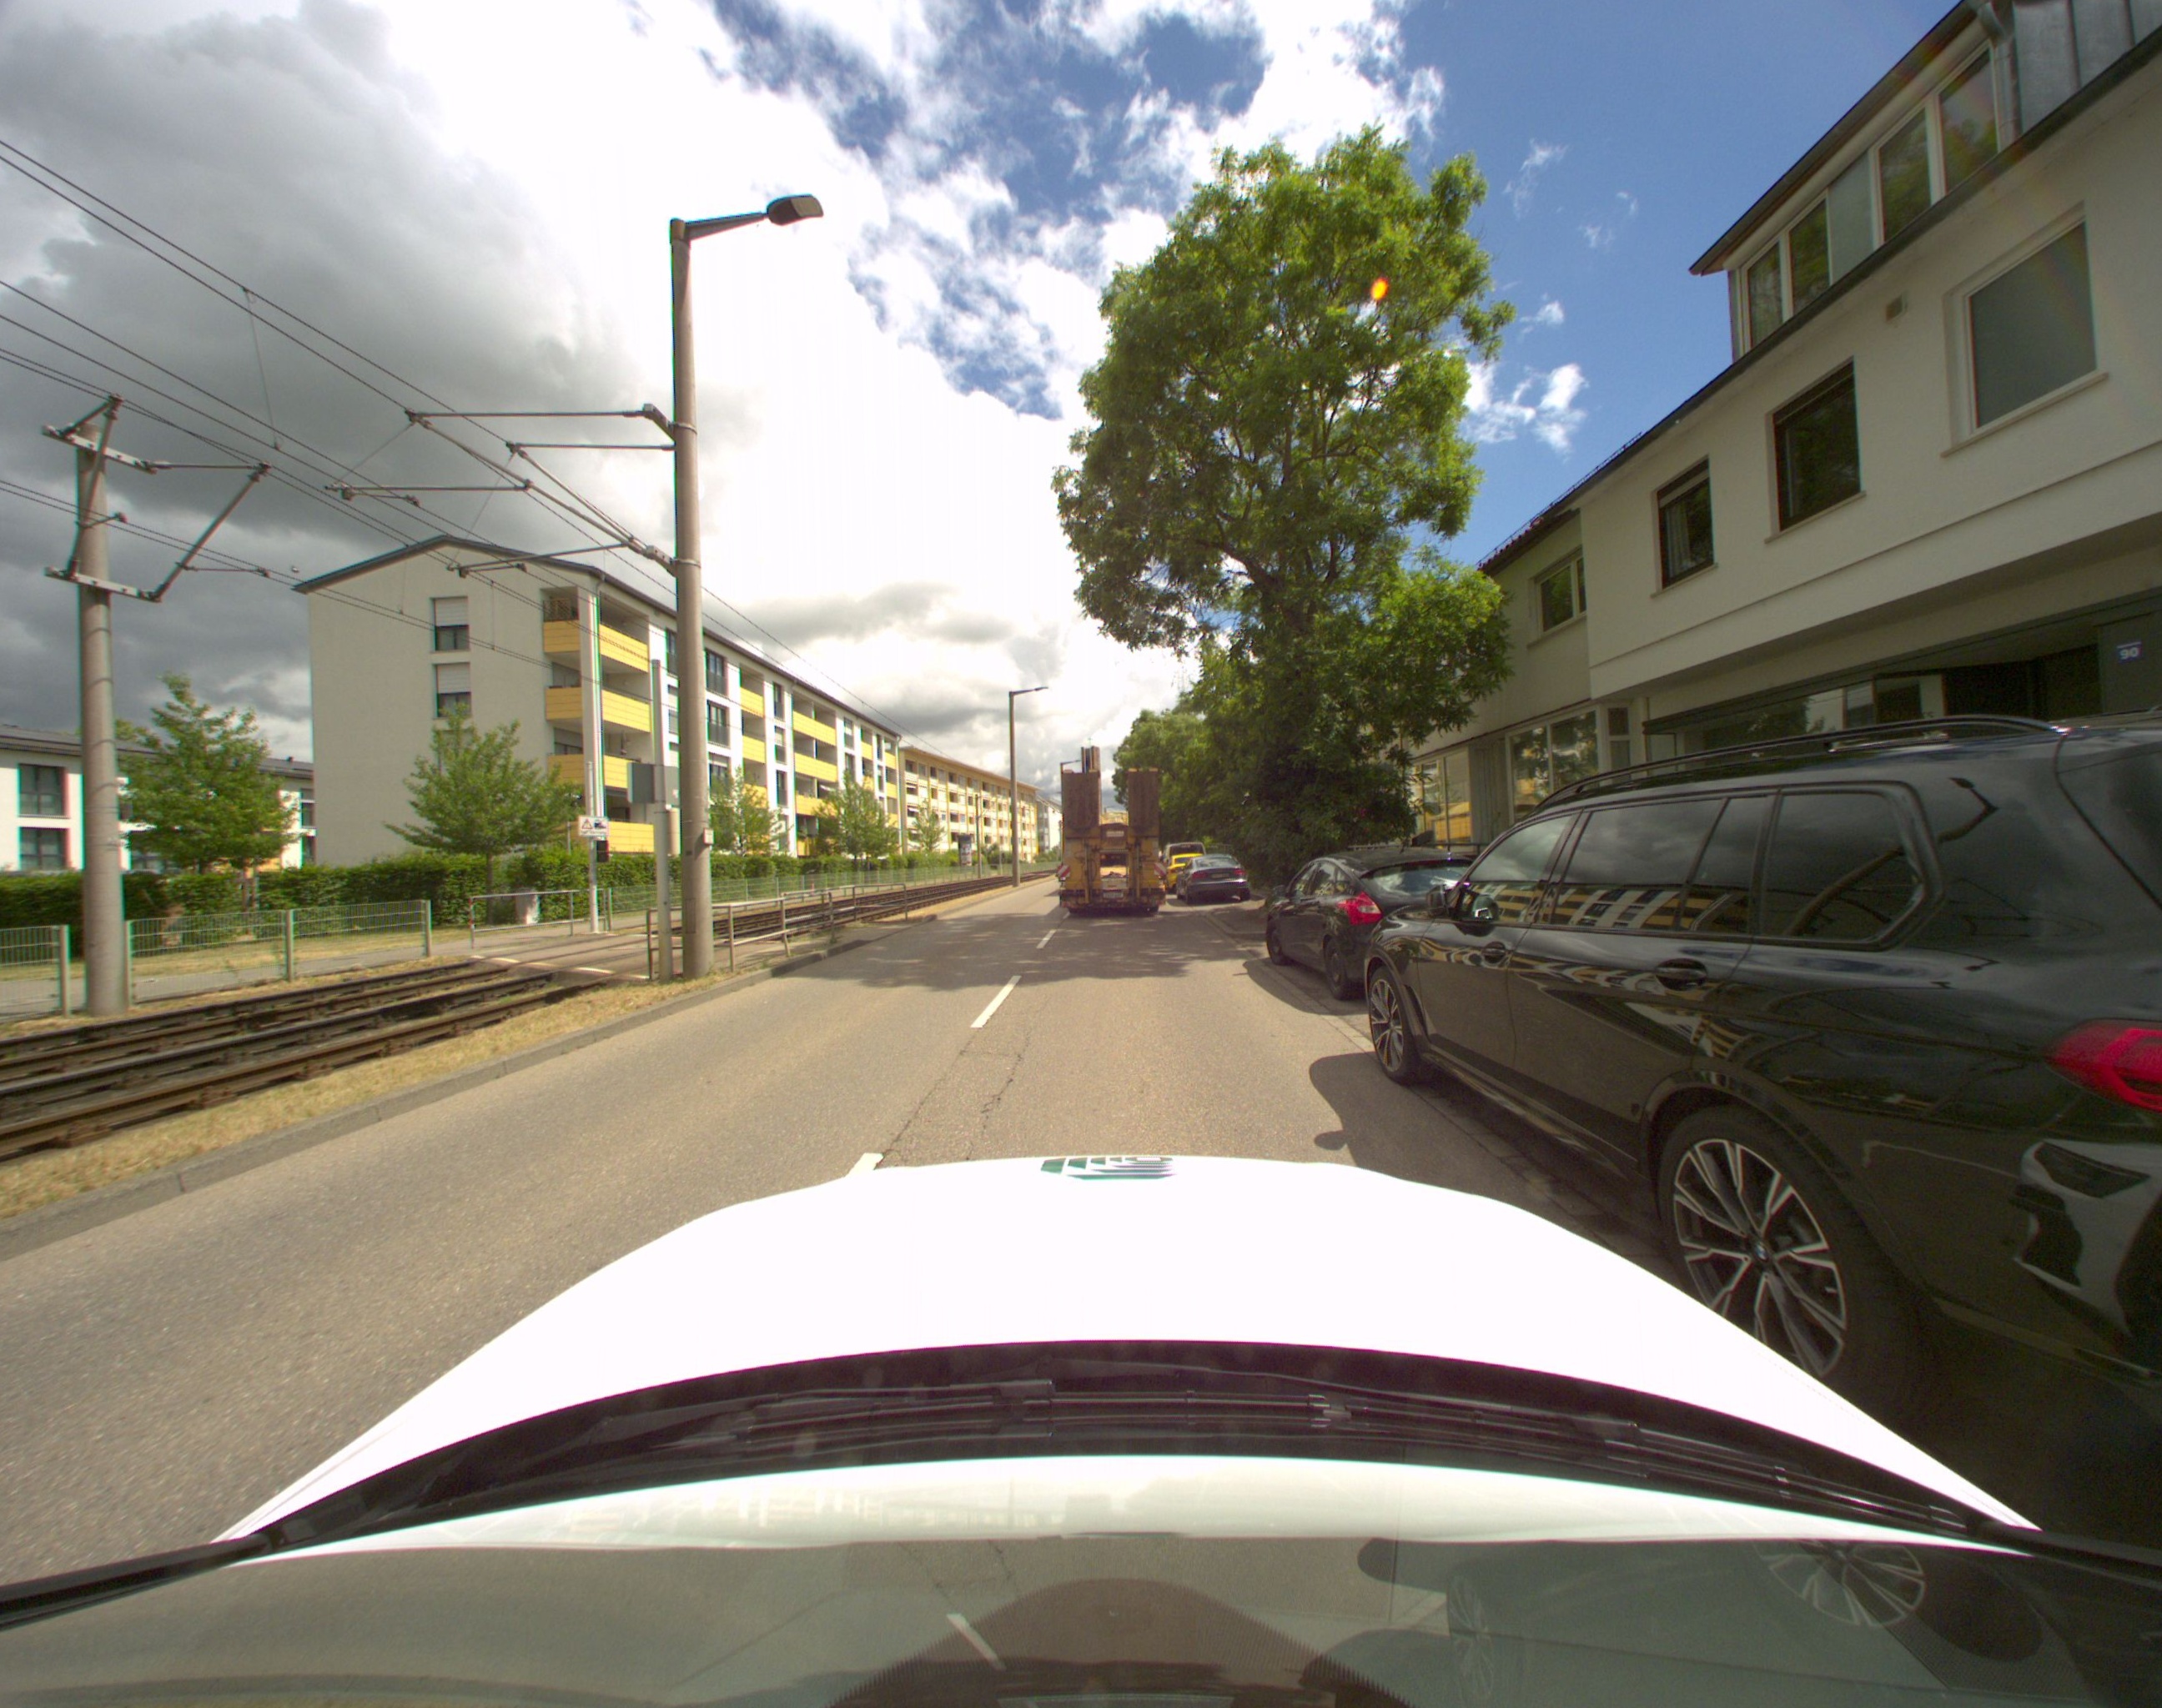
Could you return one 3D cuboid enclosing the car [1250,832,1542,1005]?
[{"bbox_3d":[3.349,0.606,9.661,1.828,1.505,4.243,-3,0,1],"label":"car"}]

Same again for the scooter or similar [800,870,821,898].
[{"bbox_3d":[-13.117,1.429,39.553,0.488,1.293,1.303,-2,0,3],"label":"scooter or similar"}]

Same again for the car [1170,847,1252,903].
[{"bbox_3d":[3.809,0.596,24.555,1.749,1.442,4.494,-3,0,1],"label":"car"}]

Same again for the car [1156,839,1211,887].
[{"bbox_3d":[4.652,0.395,37.677,1.907,1.958,5.748,-3,0,2],"label":"car"}]

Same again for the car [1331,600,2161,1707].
[{"bbox_3d":[2.812,0.467,3.649,2.007,1.788,5.080,-3,0,3],"label":"car"}]

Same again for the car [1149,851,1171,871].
[{"bbox_3d":[7.031,0.597,71.966,1.814,1.682,4.584,-3,0,6],"label":"car"}]

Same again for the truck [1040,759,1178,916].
[{"bbox_3d":[0.819,-0.366,25.289,3.112,3.564,12.463,-2,0,2],"label":"truck"}]

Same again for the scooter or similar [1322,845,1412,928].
[{"bbox_3d":[4.539,0.501,12.986,0.538,1.242,1.223,-3,0,-33],"label":"scooter or similar"}]

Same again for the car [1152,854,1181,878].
[{"bbox_3d":[5.792,0.794,55.630,1.602,1.456,3.677,-4,0,2],"label":"car"}]

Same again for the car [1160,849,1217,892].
[{"bbox_3d":[4.023,0.592,31.171,1.748,1.442,4.344,-4,0,3],"label":"car"}]
